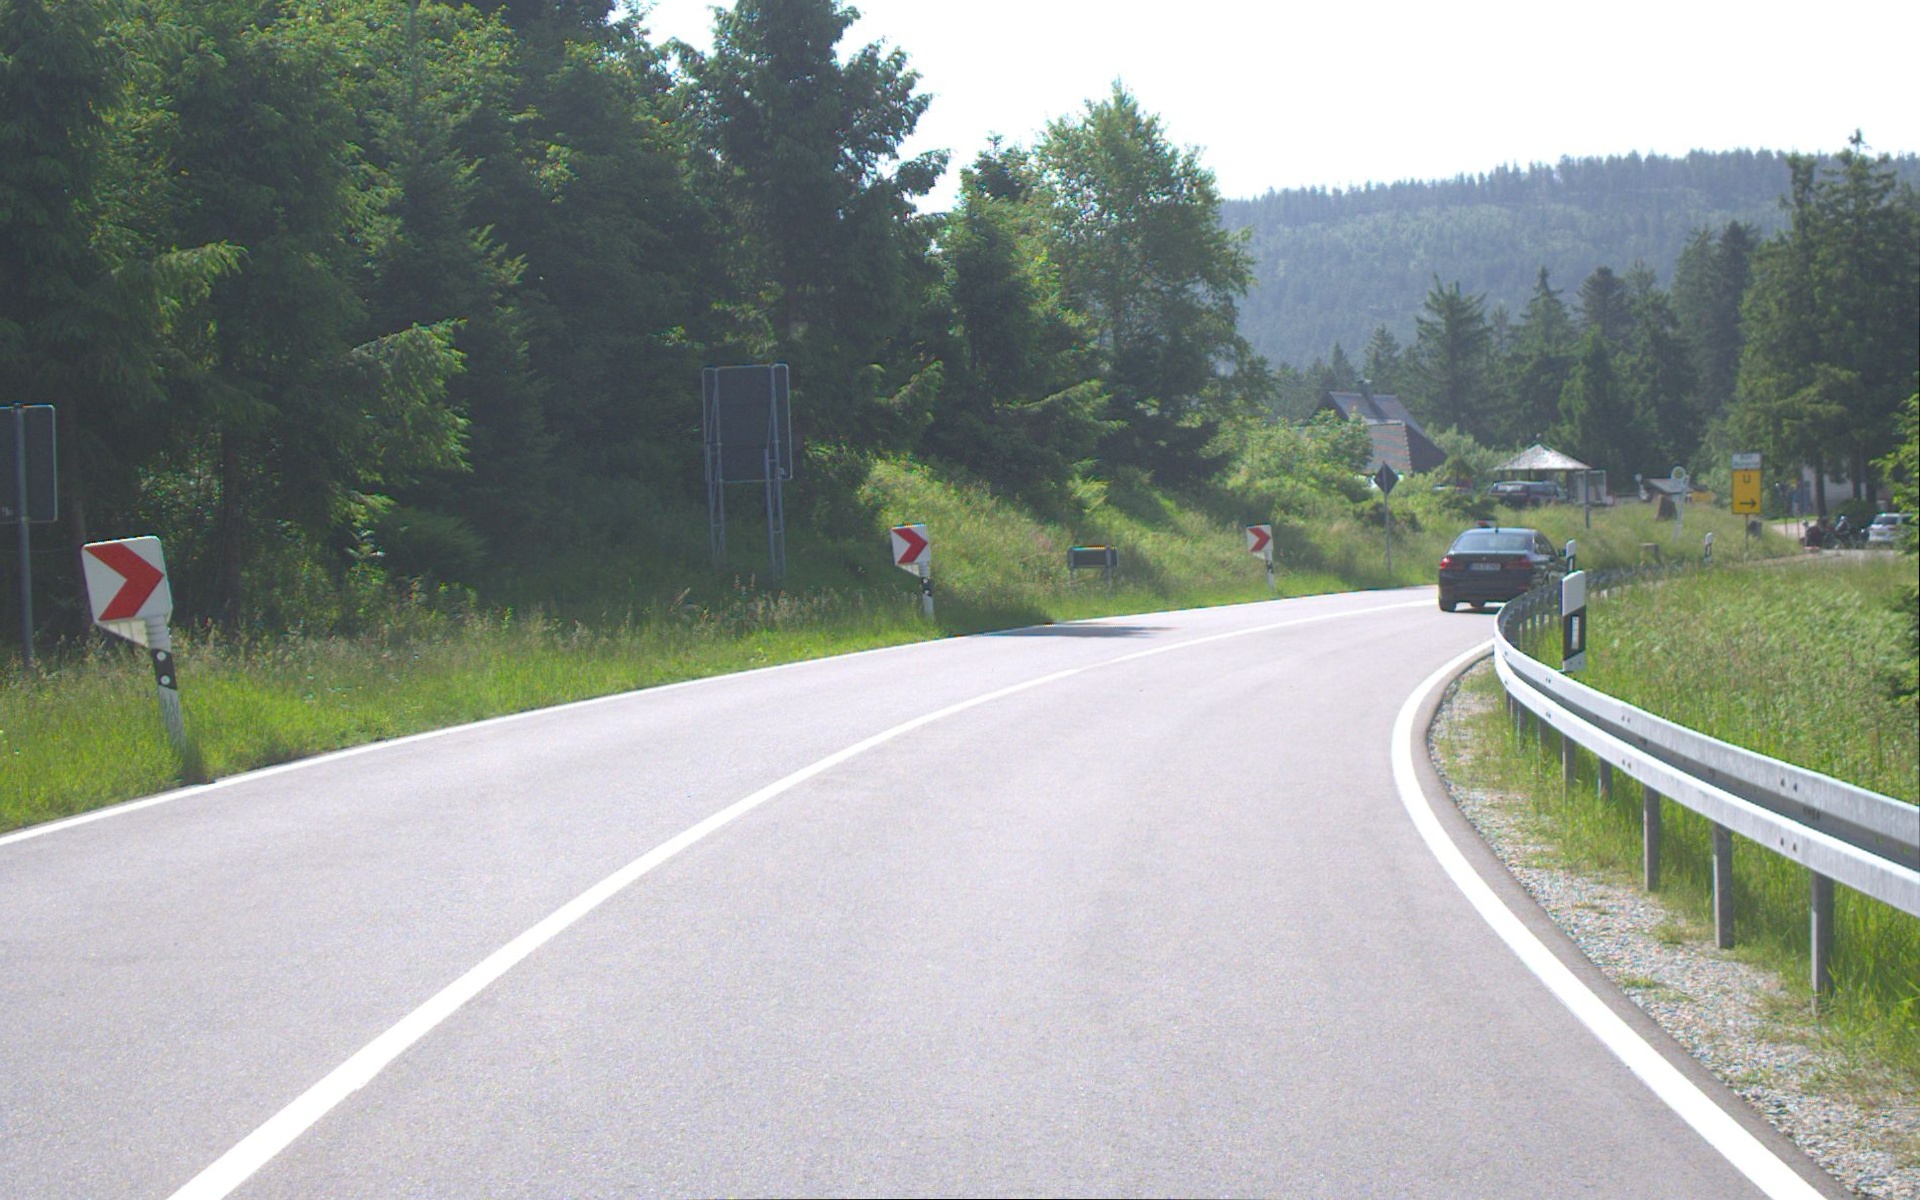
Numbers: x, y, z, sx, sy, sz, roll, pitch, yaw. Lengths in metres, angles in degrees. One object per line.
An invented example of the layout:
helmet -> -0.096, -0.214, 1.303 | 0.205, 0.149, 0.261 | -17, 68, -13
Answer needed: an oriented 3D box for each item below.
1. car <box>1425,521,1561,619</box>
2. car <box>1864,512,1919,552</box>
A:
car -> 9.130, -0.540, 58.733 | 1.777, 1.437, 3.706 | 4, 4, 16
car -> 41.737, -3.042, 152.186 | 1.858, 1.665, 4.376 | -1, 1, 35
